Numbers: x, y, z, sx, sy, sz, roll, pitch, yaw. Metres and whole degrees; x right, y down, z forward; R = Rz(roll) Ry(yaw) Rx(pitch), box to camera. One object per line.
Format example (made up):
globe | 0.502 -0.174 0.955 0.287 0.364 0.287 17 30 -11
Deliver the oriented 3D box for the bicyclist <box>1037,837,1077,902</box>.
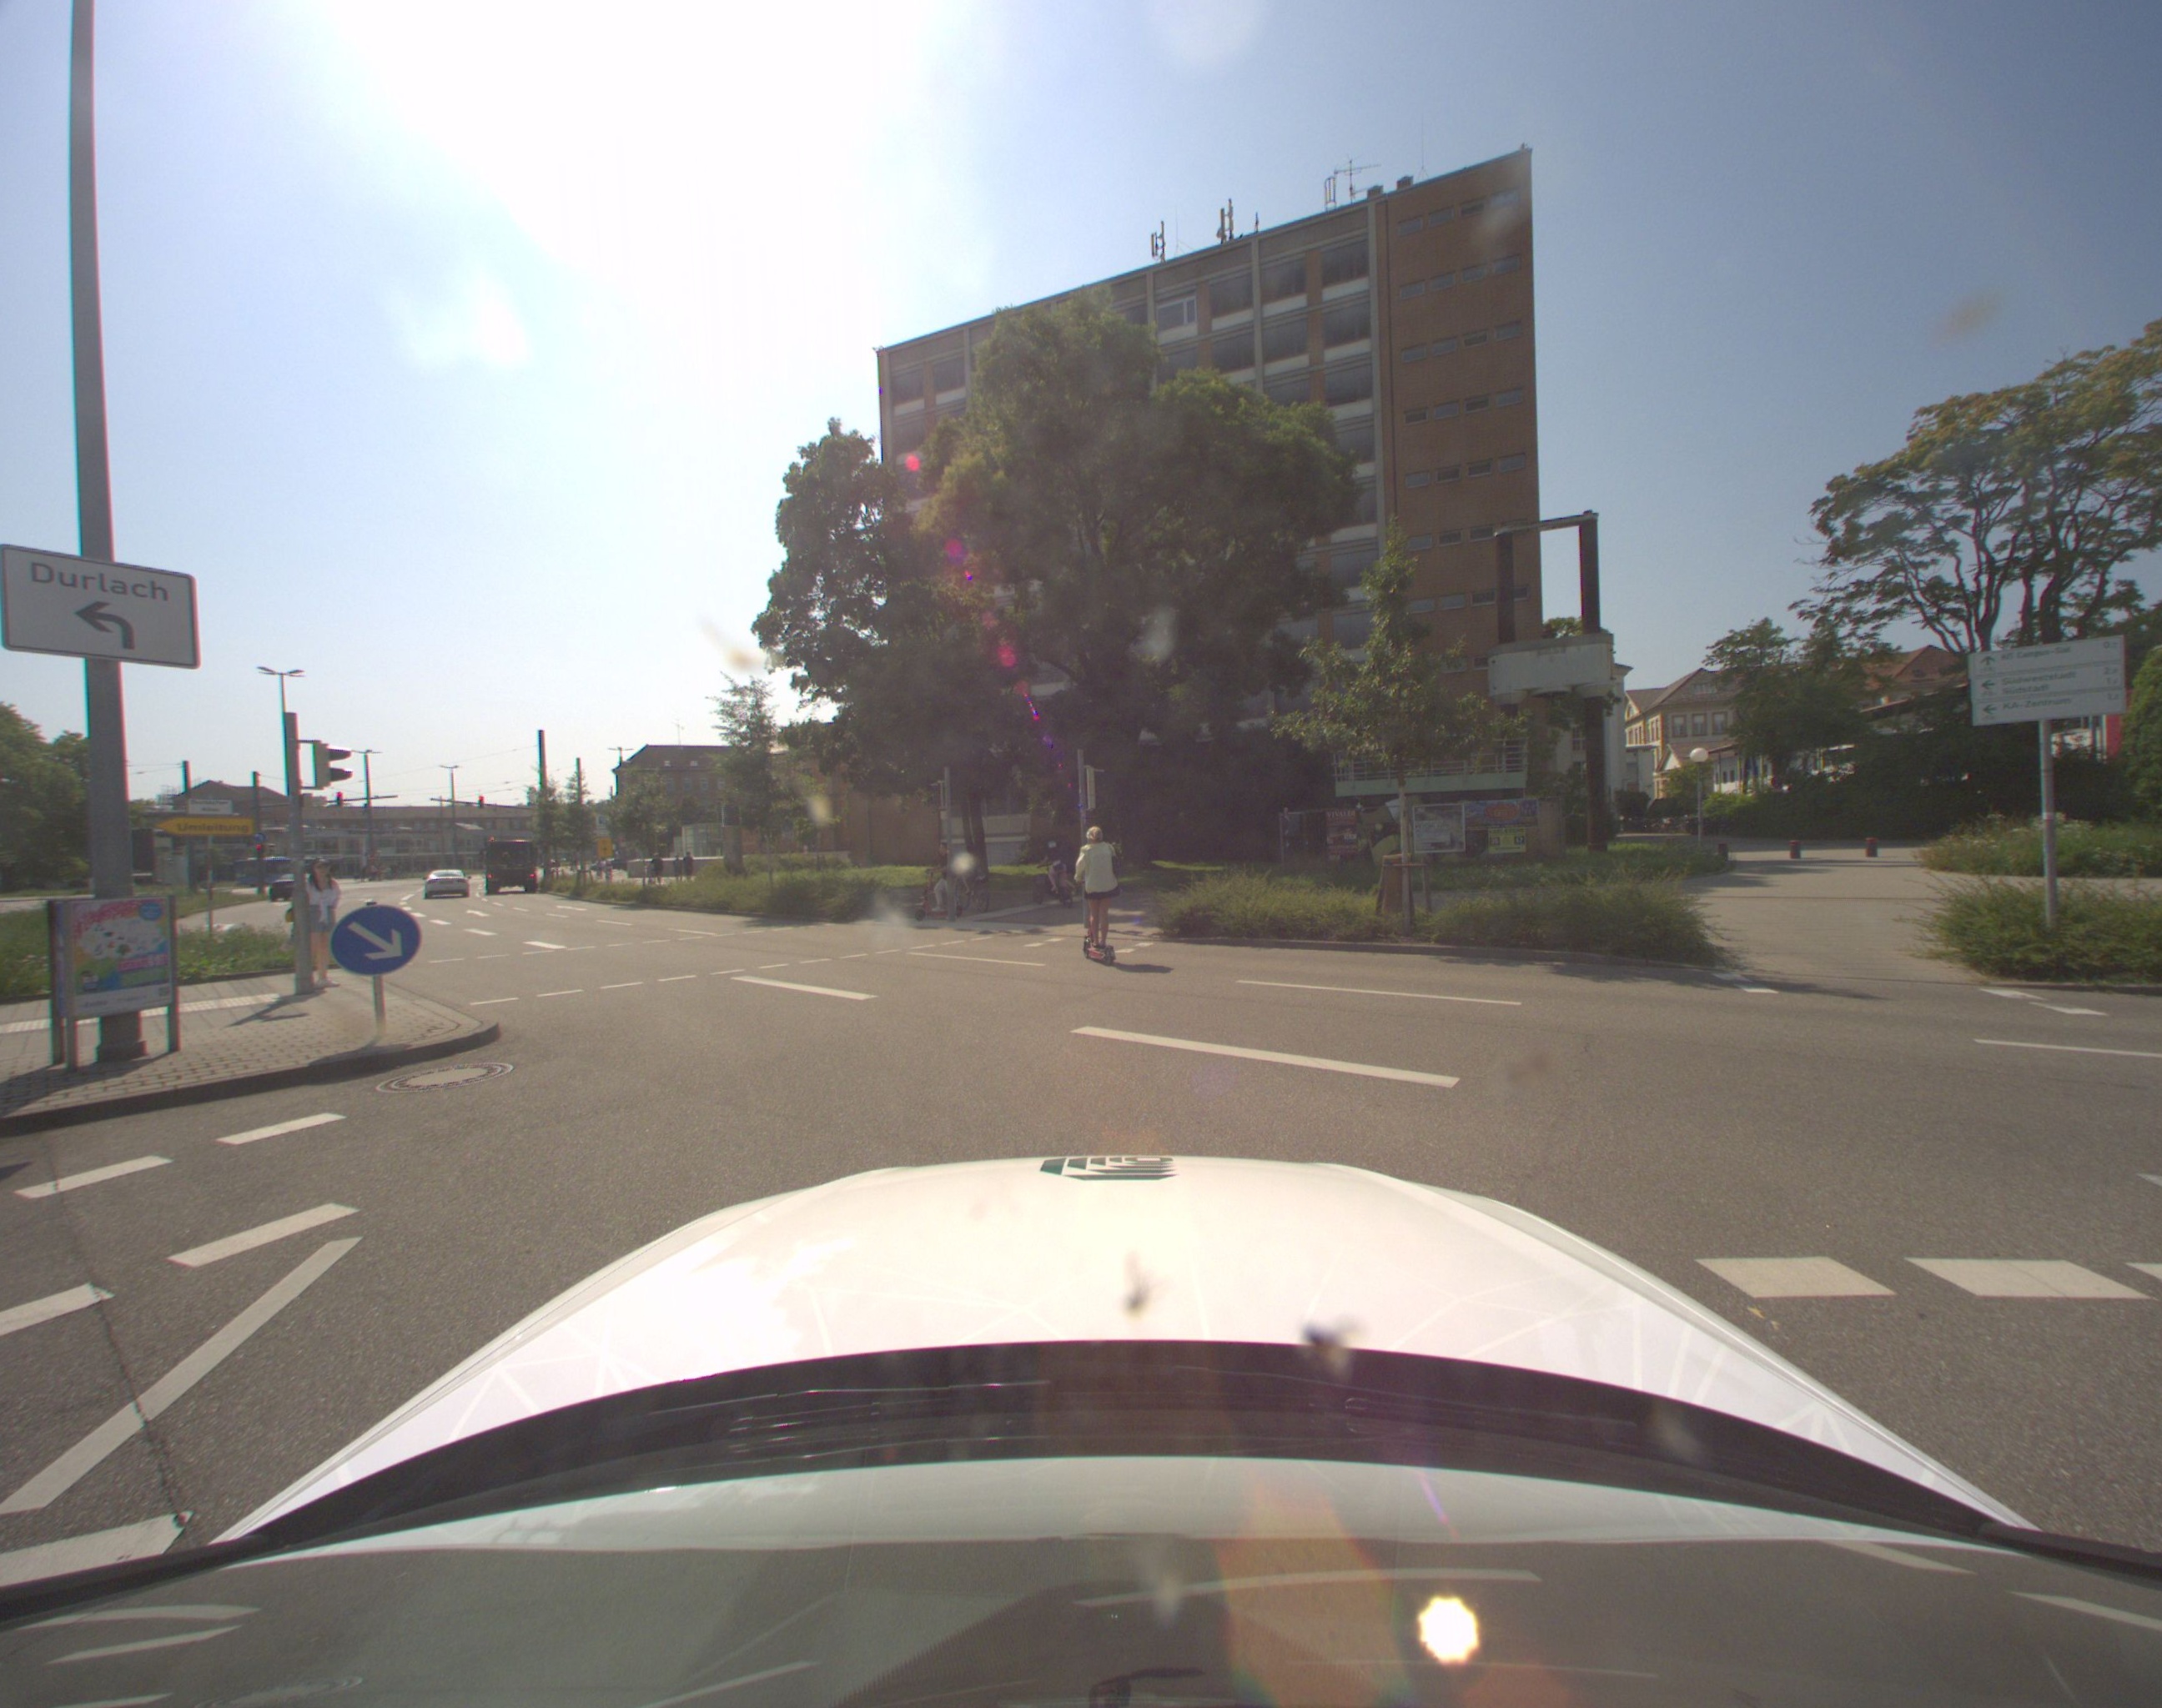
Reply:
bicyclist | -0.591 0.369 19.966 0.552 1.496 0.796 -6 2 -28

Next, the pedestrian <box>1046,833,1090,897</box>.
pedestrian | -0.356 0.309 22.751 0.868 1.704 0.712 -2 3 40

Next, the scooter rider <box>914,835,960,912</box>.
scooter rider | -3.401 0.455 19.221 0.807 1.739 0.683 -3 1 -26

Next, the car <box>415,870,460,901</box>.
car | -34.025 1.605 43.150 1.772 1.455 4.375 -2 0 -38

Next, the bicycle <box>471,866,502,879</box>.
bicycle | -58.469 1.808 80.137 2.799 1.178 0.980 -2 1 18

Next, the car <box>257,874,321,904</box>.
car | -42.139 1.801 43.420 1.771 1.404 3.938 -1 0 -34

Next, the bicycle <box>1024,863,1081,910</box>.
bicycle | -0.736 0.778 20.323 0.559 1.060 1.986 -6 3 -27

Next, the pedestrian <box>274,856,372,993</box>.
pedestrian | -9.943 0.894 10.708 0.701 1.694 0.603 -3 1 -23

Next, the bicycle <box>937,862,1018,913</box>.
bicycle | -2.629 0.814 20.518 0.700 1.154 2.342 -5 3 -44

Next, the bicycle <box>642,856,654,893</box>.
bicycle | -21.974 1.026 41.325 0.458 1.860 1.351 -2 1 -26

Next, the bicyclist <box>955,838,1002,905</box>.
bicyclist | -2.564 0.420 20.411 0.697 1.598 0.833 -6 3 -44

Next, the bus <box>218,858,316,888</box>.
bus | -88.591 1.958 88.981 3.066 2.931 11.767 -2 1 -22

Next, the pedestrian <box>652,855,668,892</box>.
pedestrian | -21.590 1.004 41.806 0.663 1.860 0.786 -2 1 -27

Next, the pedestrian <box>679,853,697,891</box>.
pedestrian | -20.818 0.948 43.126 0.781 1.973 0.748 -2 1 -24

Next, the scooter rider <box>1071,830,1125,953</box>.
scooter rider | 0.234 0.523 11.659 0.669 1.699 0.538 -2 -1 -5

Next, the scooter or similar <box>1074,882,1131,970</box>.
scooter or similar | 0.266 0.961 11.495 0.555 1.060 2.000 -2 0 -5

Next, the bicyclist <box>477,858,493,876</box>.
bicyclist | -58.718 1.261 80.201 0.655 1.654 0.980 -2 1 19

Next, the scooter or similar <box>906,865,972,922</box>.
scooter or similar | -3.359 0.913 19.296 1.371 1.234 0.580 -4 1 -27

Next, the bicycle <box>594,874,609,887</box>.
bicycle | -32.241 1.790 54.749 0.680 0.776 2.104 -3 1 -36

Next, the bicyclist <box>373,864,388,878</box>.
bicyclist | -75.244 1.842 87.479 0.853 1.501 0.912 -2 1 33

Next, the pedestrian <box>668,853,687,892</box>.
pedestrian | -20.871 0.959 42.130 0.781 1.973 0.748 -2 1 -24

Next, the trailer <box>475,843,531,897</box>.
trailer | -34.296 0.896 48.237 2.482 3.007 6.254 -1 0 -37

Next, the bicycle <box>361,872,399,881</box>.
bicycle | -75.237 2.427 87.474 0.853 0.727 2.964 -2 1 33
